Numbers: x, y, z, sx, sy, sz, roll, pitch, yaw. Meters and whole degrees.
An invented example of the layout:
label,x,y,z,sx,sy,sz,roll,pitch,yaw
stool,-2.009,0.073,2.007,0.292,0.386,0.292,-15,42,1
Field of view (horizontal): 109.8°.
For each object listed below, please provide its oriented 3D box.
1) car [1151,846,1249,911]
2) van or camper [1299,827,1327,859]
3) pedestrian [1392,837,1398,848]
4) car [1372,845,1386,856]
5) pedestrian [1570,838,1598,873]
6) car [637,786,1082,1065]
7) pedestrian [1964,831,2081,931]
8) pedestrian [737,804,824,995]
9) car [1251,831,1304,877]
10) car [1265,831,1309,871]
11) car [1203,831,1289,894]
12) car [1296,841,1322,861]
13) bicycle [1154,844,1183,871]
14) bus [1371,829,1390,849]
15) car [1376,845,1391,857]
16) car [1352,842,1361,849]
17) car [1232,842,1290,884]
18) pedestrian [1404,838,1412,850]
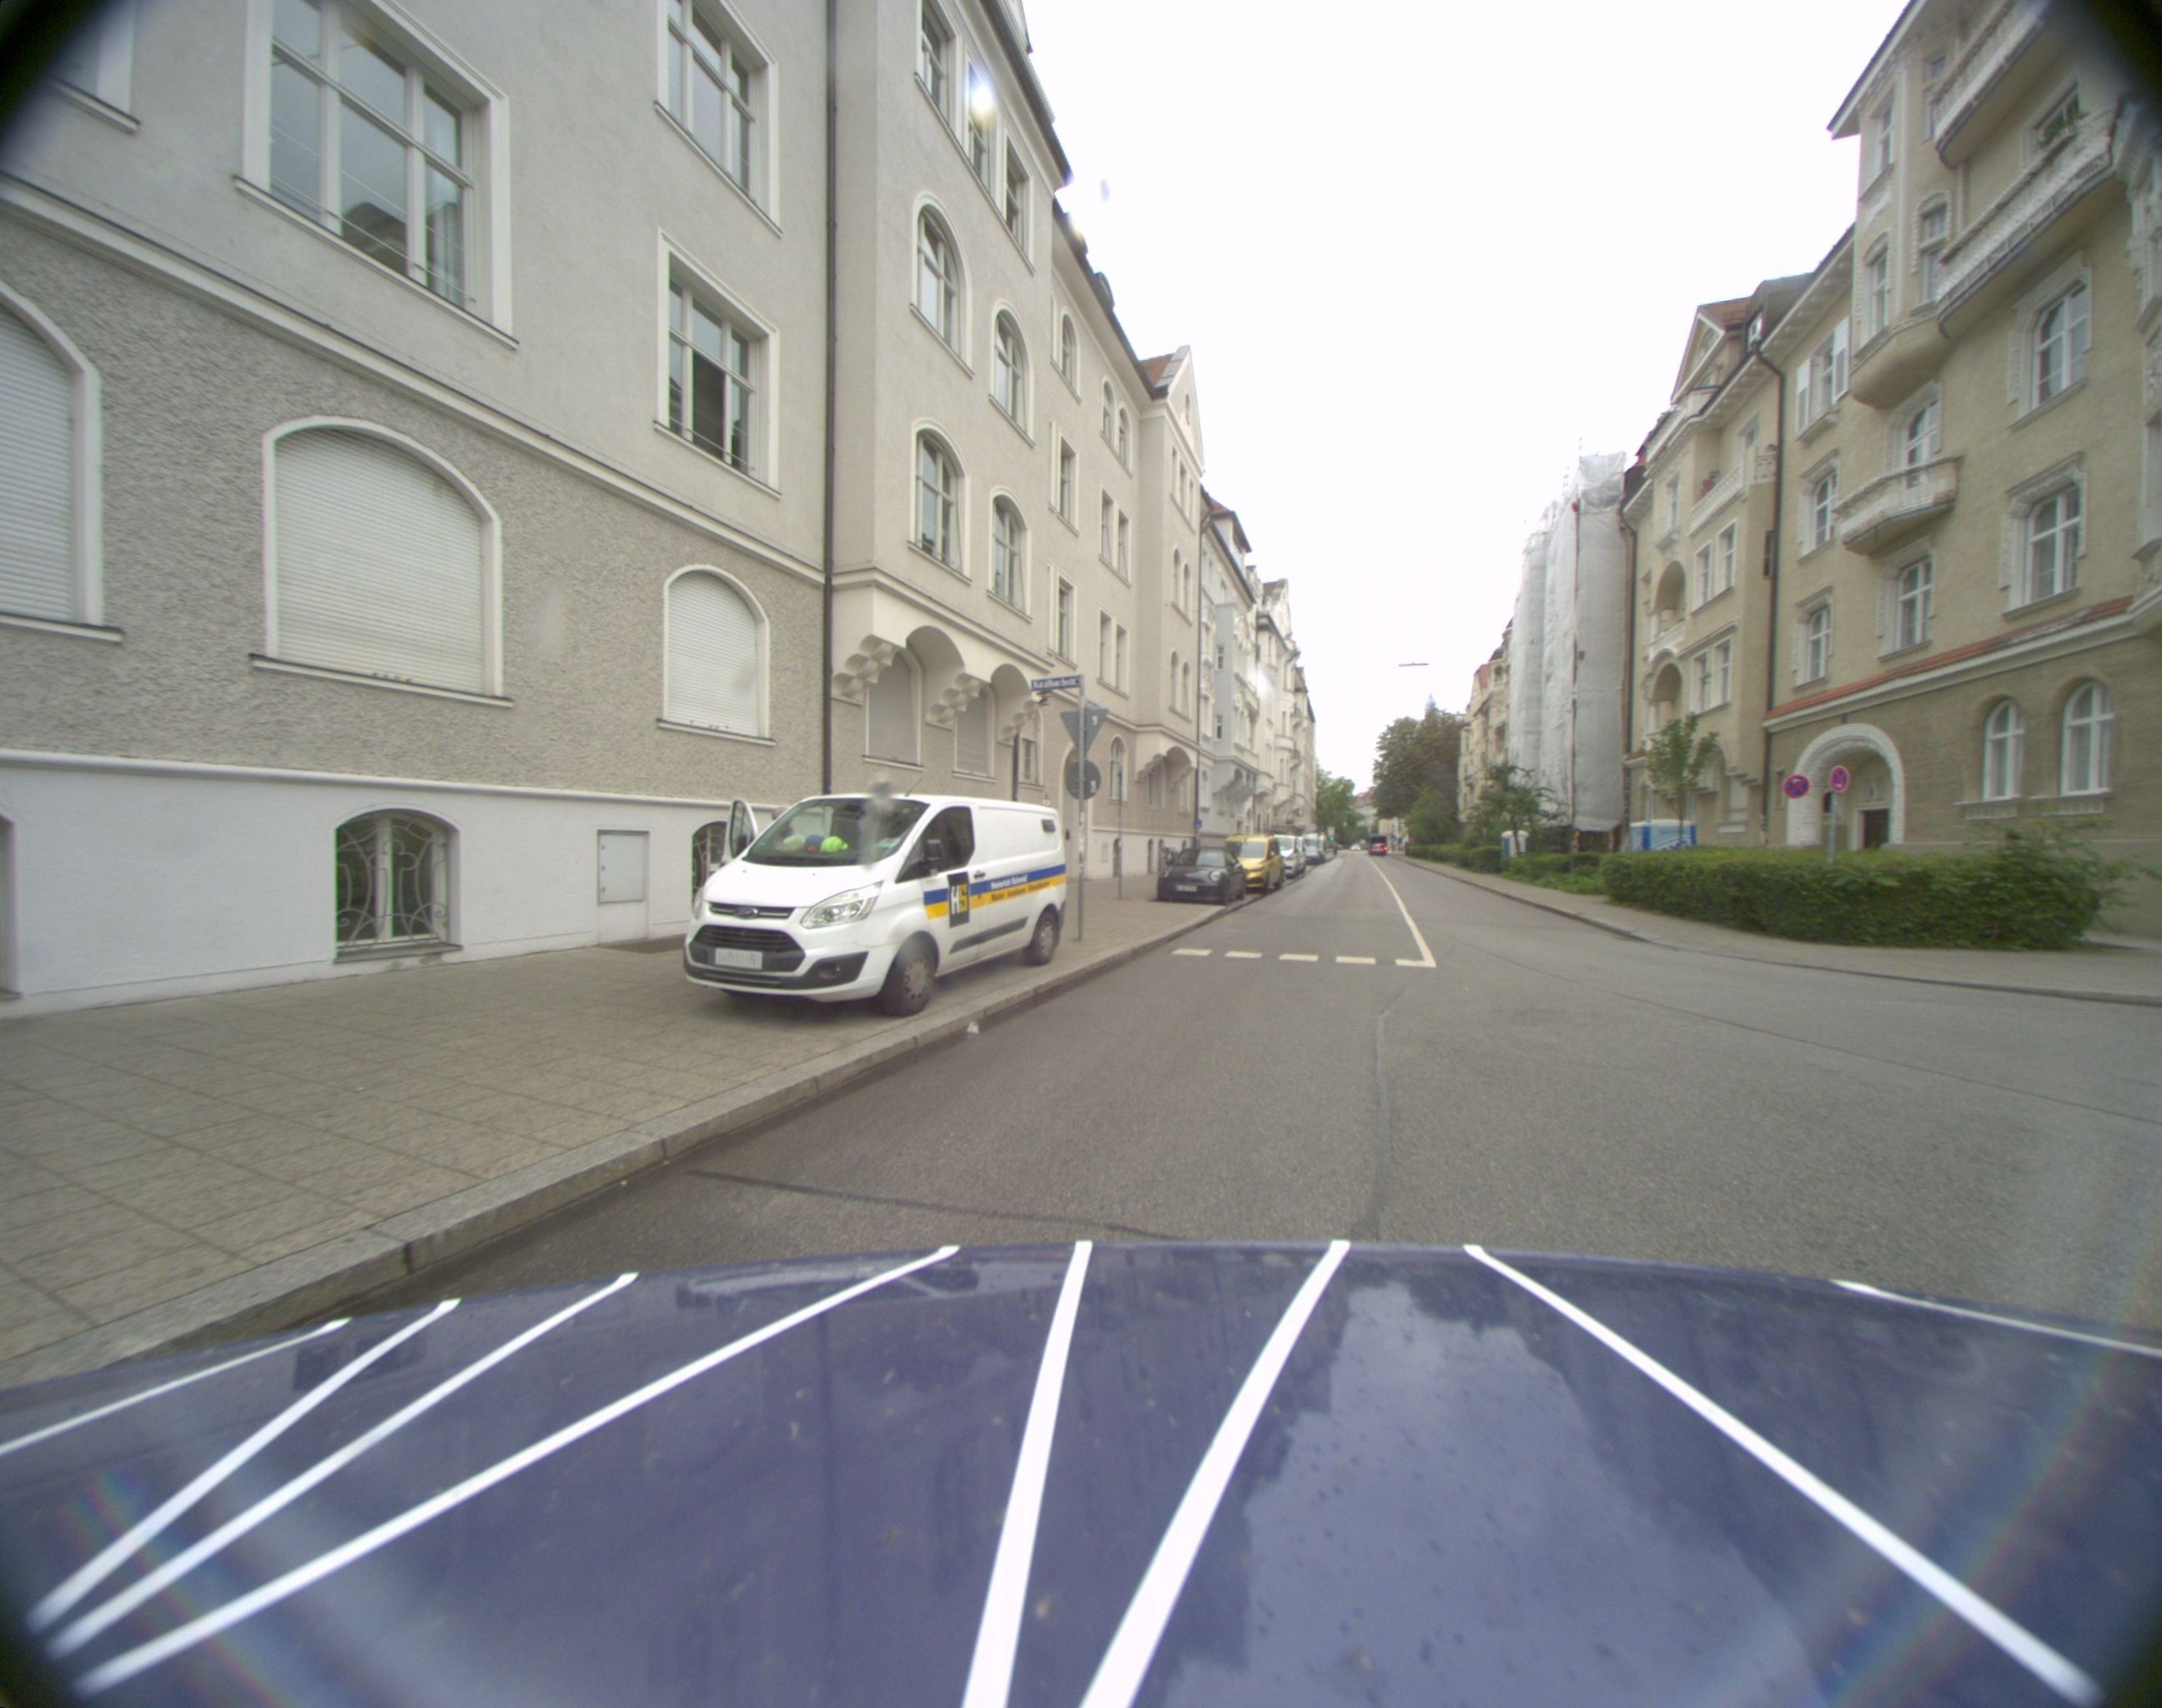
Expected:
label,x,y,z,sx,sy,sz,roll,pitch,yaw
car,3.184,0.547,19.705,1.665,1.449,3.902,1,2,21
van or camper,19.720,-0.965,64.421,1.955,2.622,5.465,1,2,20
pedestrian,60.909,-2.232,147.350,0.950,2.002,1.399,2,2,30
car,40.241,-0.483,102.622,1.585,1.471,3.787,2,2,20
pedestrian,25.664,0.063,38.763,0.914,1.742,0.949,2,2,20
car,-1.747,0.439,7.970,1.917,1.951,4.933,3,2,19
pedestrian,17.754,0.480,14.372,0.889,1.800,1.058,2,2,18
pedestrian,-3.117,0.436,7.883,0.678,1.877,0.590,-1,2,-40
car,9.181,-0.061,35.252,1.961,1.926,4.999,2,2,18
car,11.274,-0.206,41.285,1.961,2.002,4.999,2,2,18
car,5.536,0.217,24.969,1.851,1.842,4.828,1,2,23
car,17.670,-0.272,58.837,1.755,1.426,4.092,2,2,19
bicycle,3.875,0.129,33.475,0.695,1.087,2.039,4,2,21
bus,46.575,-2.341,118.350,2.582,3.083,8.935,2,2,20
car,43.061,-0.448,108.175,1.769,1.635,4.279,2,2,20
car,64.047,-1.936,176.880,1.924,1.609,4.005,1,2,20
car,7.077,0.297,29.669,1.633,1.476,3.788,2,2,21
pedestrian,47.597,-1.505,110.533,0.908,1.735,0.848,1,2,19
